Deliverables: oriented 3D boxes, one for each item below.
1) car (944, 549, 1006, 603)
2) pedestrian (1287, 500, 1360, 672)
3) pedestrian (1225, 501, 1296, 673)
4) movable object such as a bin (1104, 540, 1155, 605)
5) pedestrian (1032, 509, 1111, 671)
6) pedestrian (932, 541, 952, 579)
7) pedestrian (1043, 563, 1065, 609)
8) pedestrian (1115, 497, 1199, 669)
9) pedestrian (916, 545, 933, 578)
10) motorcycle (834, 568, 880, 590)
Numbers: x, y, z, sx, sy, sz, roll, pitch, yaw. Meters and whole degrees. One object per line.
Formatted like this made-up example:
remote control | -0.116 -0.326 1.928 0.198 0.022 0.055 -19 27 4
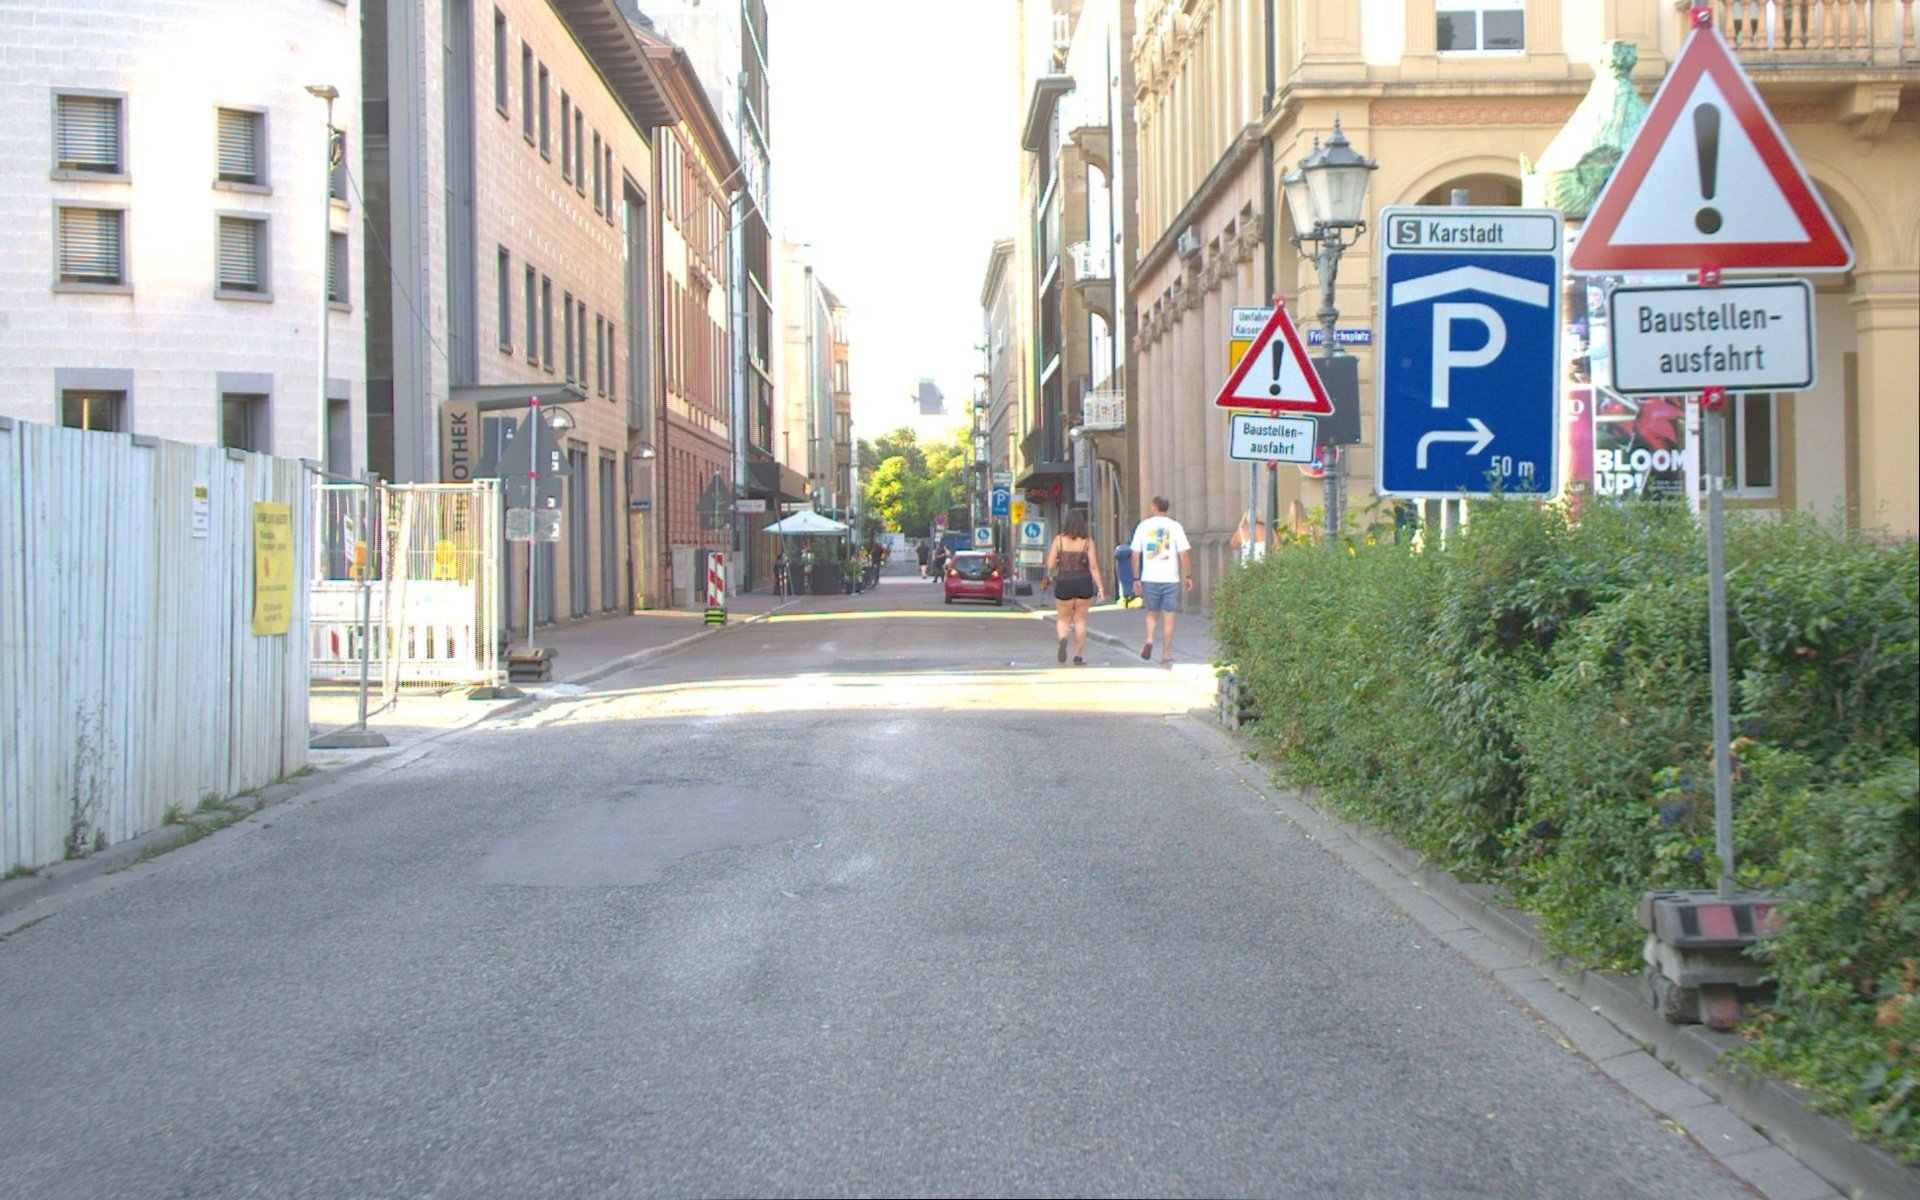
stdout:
car | 0.422 -0.685 95.884 1.649 1.422 3.535 2 1 0
pedestrian | 3.867 -0.149 36.592 0.636 1.797 0.772 -1 0 -1
pedestrian | 3.195 -0.143 36.571 0.636 1.797 0.772 -1 0 -1
movable object such as a bin | 3.694 -0.609 74.956 0.990 1.387 1.241 -1 1 -1
pedestrian | 1.215 -0.113 37.704 0.775 1.740 0.875 -1 0 -1
pedestrian | -0.819 -1.801 155.032 0.865 1.707 0.852 0 0 -1
pedestrian | 3.025 -0.452 110.817 0.656 1.482 0.493 -1 0 2
pedestrian | 2.171 -0.193 38.003 0.812 1.869 0.875 -1 0 -1
pedestrian | -1.803 -1.968 176.262 0.804 1.667 0.888 -1 1 1
motorcycle | -4.080 -0.834 135.800 1.801 0.872 0.560 0 0 -4
